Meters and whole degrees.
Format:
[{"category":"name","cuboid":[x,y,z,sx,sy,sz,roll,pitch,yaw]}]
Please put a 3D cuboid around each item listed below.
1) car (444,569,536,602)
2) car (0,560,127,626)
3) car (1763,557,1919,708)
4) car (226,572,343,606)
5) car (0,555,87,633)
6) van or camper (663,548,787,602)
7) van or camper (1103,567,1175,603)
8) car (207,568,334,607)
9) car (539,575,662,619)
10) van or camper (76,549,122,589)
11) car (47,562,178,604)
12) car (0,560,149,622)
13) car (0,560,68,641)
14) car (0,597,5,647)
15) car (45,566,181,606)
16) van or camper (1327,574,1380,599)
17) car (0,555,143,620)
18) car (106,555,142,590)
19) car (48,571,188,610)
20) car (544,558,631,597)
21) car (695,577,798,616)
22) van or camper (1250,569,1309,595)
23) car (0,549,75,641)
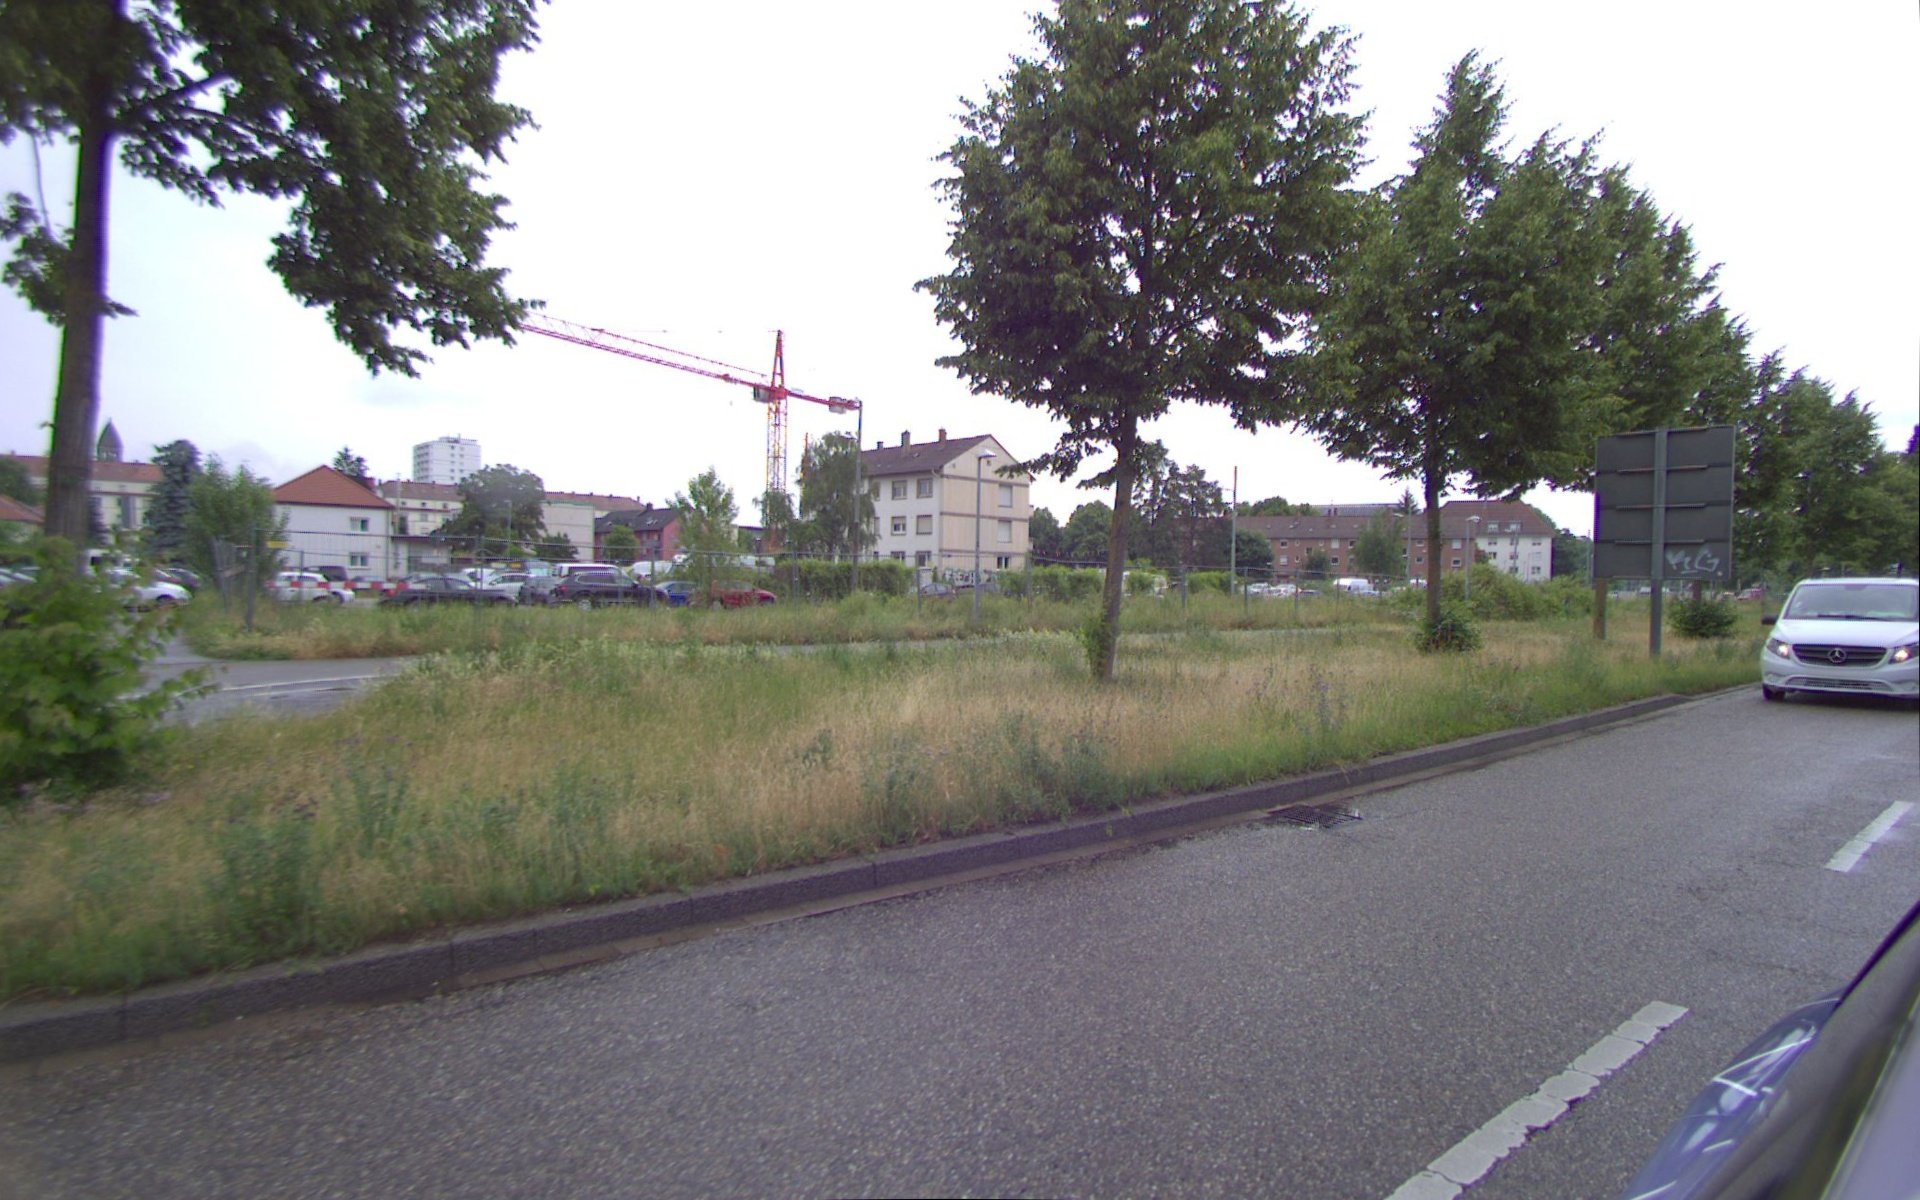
[{"category":"car","cuboid":[-23.808,-0.712,51.330,3.961,1.601,1.699,0,2,-41]},{"category":"car","cuboid":[-22.366,-0.182,23.804,4.150,1.493,1.791,0,1,-36]},{"category":"car","cuboid":[14.173,0.393,15.628,5.004,2.004,1.970,-1,2,-42]},{"category":"car","cuboid":[-28.014,-0.456,42.002,3.958,1.369,1.701,0,1,-38]},{"category":"car","cuboid":[-21.342,-0.139,21.288,4.332,1.621,1.861,0,1,-36]},{"category":"van or camper","cuboid":[-13.982,-1.471,60.491,6.659,3.031,2.912,0,1,-41]},{"category":"van or camper","cuboid":[14.174,-1.215,80.025,6.290,2.722,2.310,0,2,-44]},{"category":"car","cuboid":[-27.094,-0.480,39.826,3.961,1.464,1.699,0,1,-40]},{"category":"car","cuboid":[-13.852,-0.138,39.093,4.153,1.621,1.861,0,1,-36]},{"category":"van or camper","cuboid":[-58.534,-2.090,68.846,2.054,2.617,5.628,0,1,-37]},{"category":"car","cuboid":[-34.261,-0.670,40.966,3.965,1.621,1.857,0,1,-44]},{"category":"car","cuboid":[-25.143,-0.260,28.156,3.925,1.621,1.861,0,1,-36]},{"category":"car","cuboid":[-19.319,0.061,18.767,3.926,1.472,1.861,-3,3,-36]},{"category":"car","cuboid":[-16.089,0.096,13.915,3.926,1.599,1.861,-6,4,-34]},{"category":"car","cuboid":[-33.020,-0.543,39.515,3.965,1.515,1.857,0,1,-44]},{"category":"van or camper","cuboid":[41.205,-1.374,105.797,6.313,2.568,2.778,0,0,-44]},{"category":"car","cuboid":[-23.816,-0.330,26.287,3.925,1.621,1.861,0,1,-36]},{"category":"car","cuboid":[-70.662,-2.246,85.584,2.187,2.817,4.500,0,0,-38]},{"category":"car","cuboid":[-31.488,-0.362,37.918,3.963,1.369,1.698,0,1,-42]},{"category":"car","cuboid":[-20.146,-1.215,54.756,4.091,2.030,1.699,0,1,-40]},{"category":"car","cuboid":[-9.186,-0.163,43.654,3.930,1.621,1.858,0,1,-41]},{"category":"van or camper","cuboid":[30.443,-1.687,96.231,6.538,2.337,2.504,0,0,-44]},{"category":"car","cuboid":[-17.476,0.042,16.394,4.474,1.472,1.861,-6,4,-36]}]
